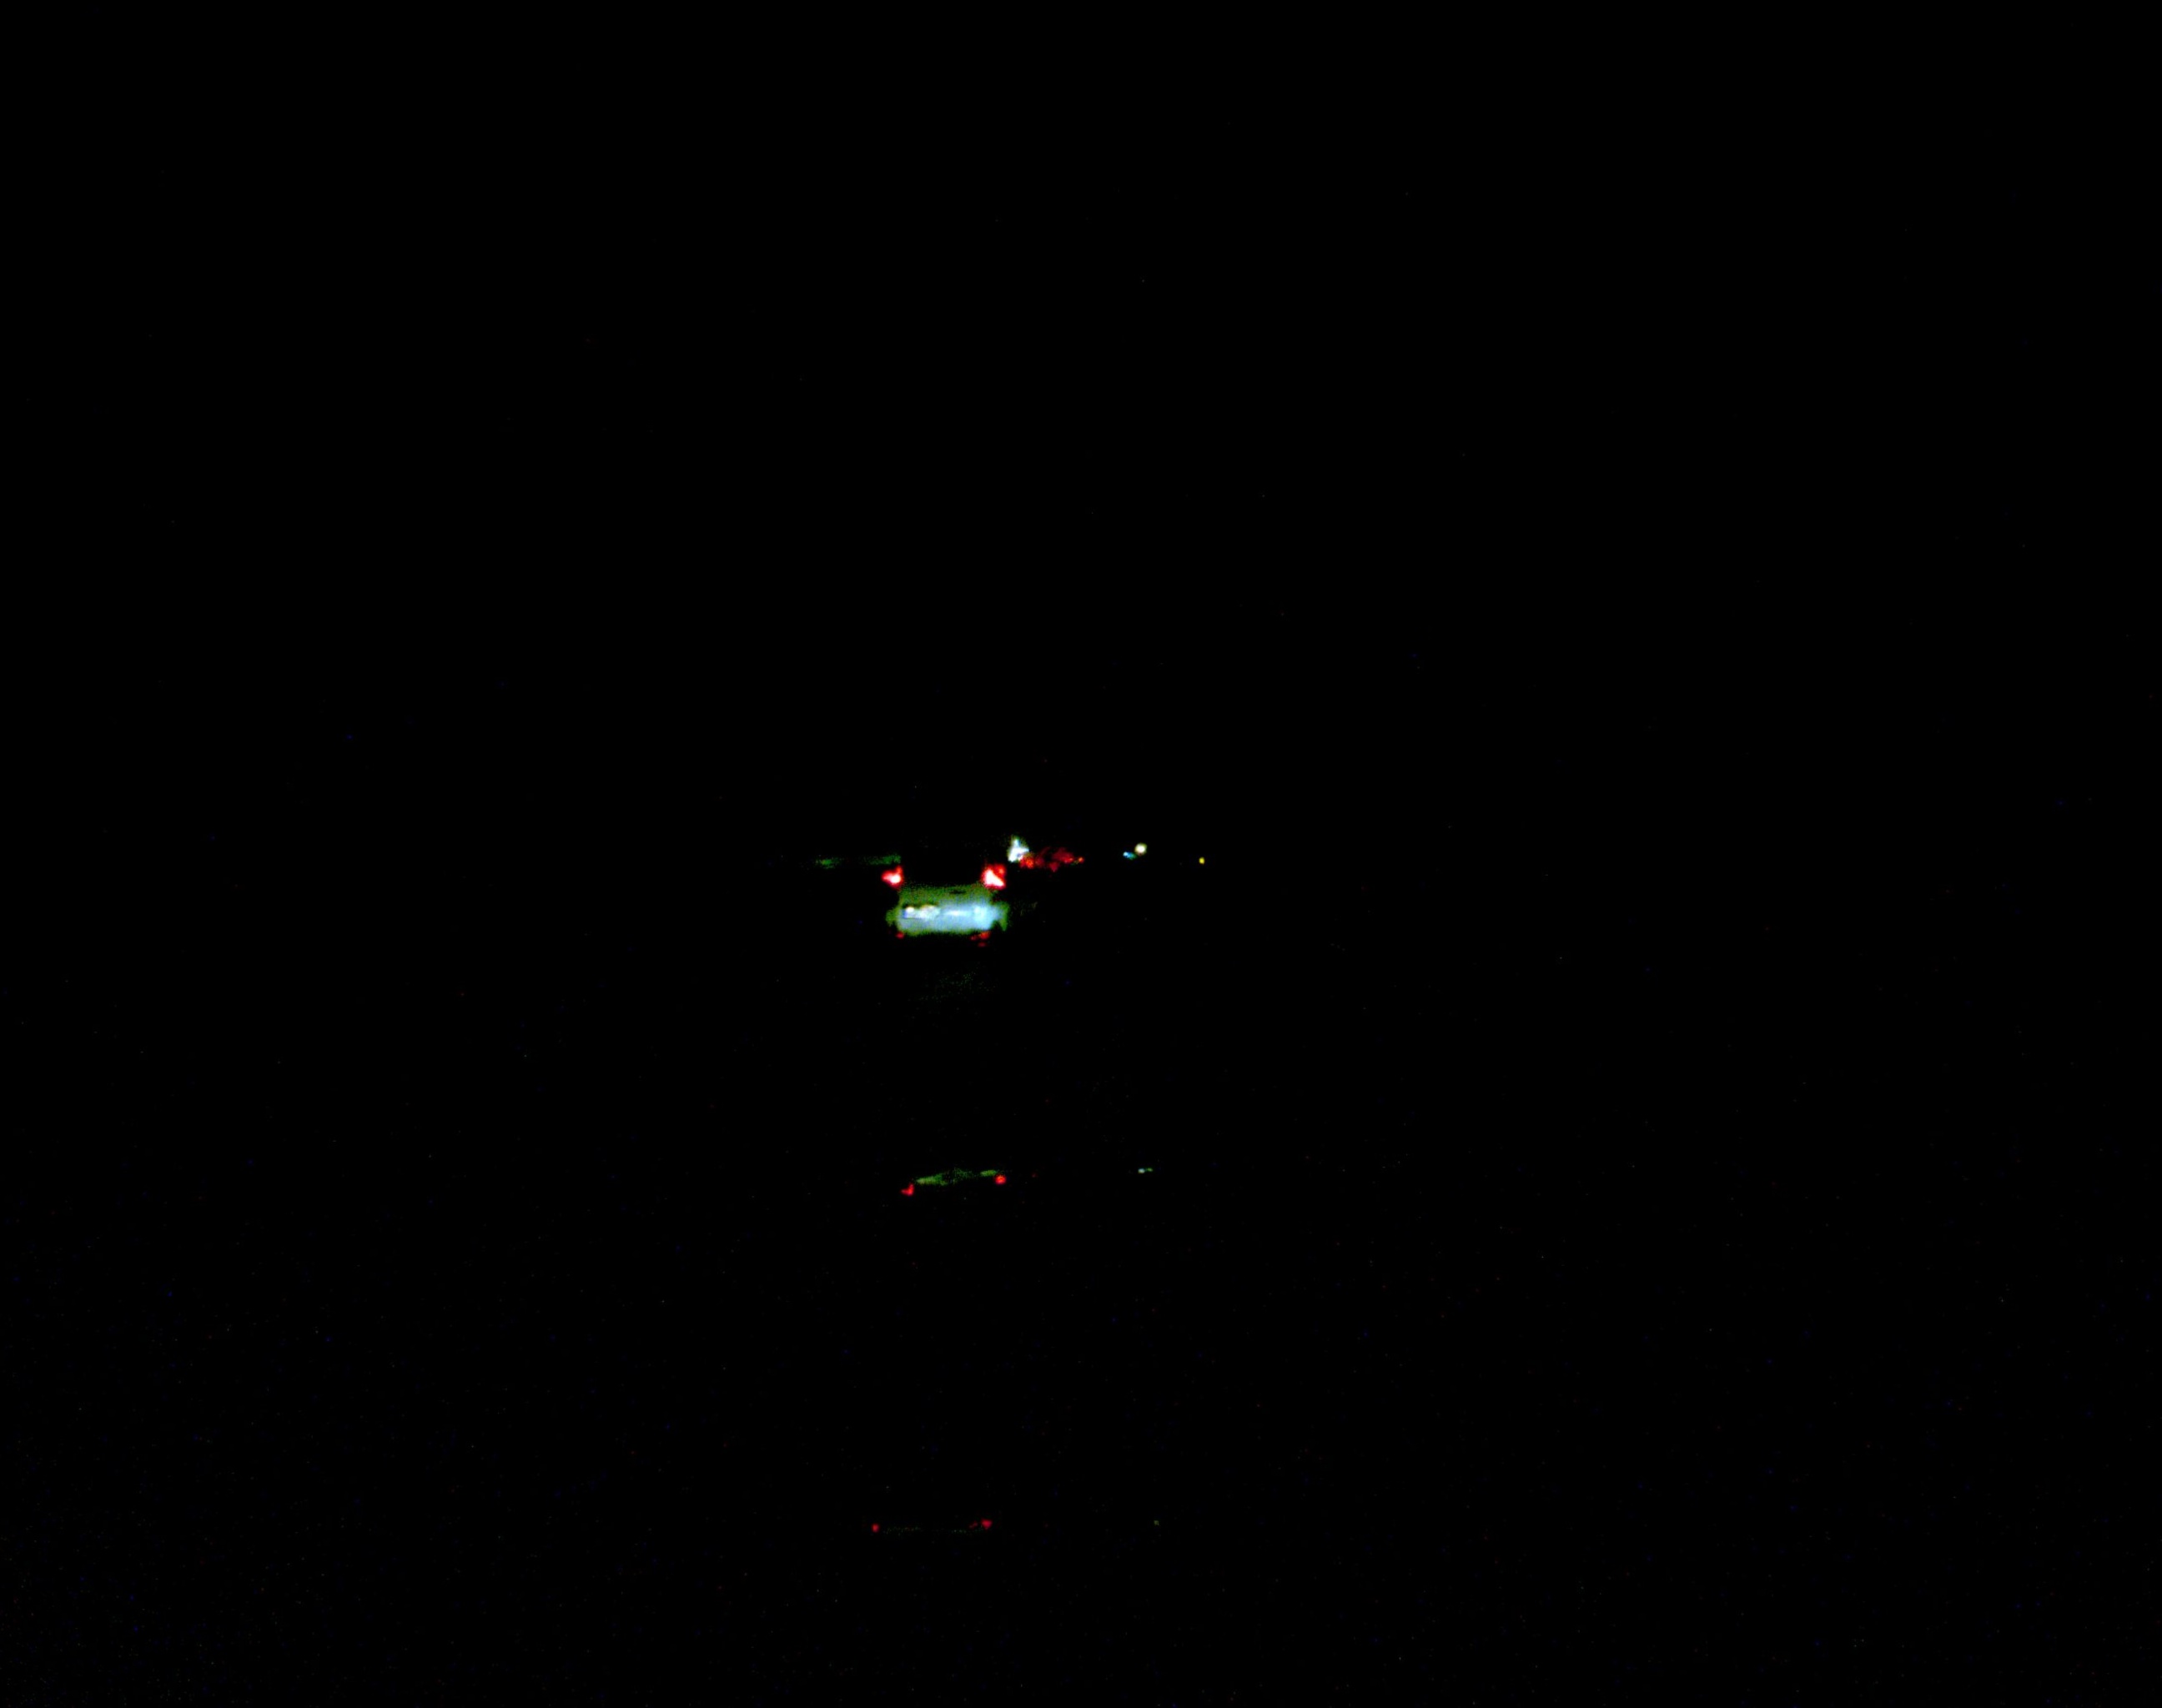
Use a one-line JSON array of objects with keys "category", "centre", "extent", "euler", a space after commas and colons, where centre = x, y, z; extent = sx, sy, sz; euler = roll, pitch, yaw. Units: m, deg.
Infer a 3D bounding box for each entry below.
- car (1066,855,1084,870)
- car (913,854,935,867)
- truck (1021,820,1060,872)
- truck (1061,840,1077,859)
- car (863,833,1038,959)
[{"category": "car", "centre": [-0.735, 0.955, 94.720], "extent": [1.989, 1.707, 4.192], "euler": [0, 0, -2]}, {"category": "car", "centre": [-20.652, 0.849, 107.290], "extent": [1.987, 1.643, 4.253], "euler": [0, 0, 0]}, {"category": "truck", "centre": [-4.561, -0.856, 93.970], "extent": [4.157, 5.544, 13.064], "euler": [0, 0, -2]}, {"category": "truck", "centre": [-3.228, -1.171, 215.089], "extent": [3.814, 4.915, 11.596], "euler": [0, 0, -2]}, {"category": "car", "centre": [-1.997, 0.569, 14.163], "extent": [1.945, 1.792, 5.129], "euler": [0, 1, 3]}]
